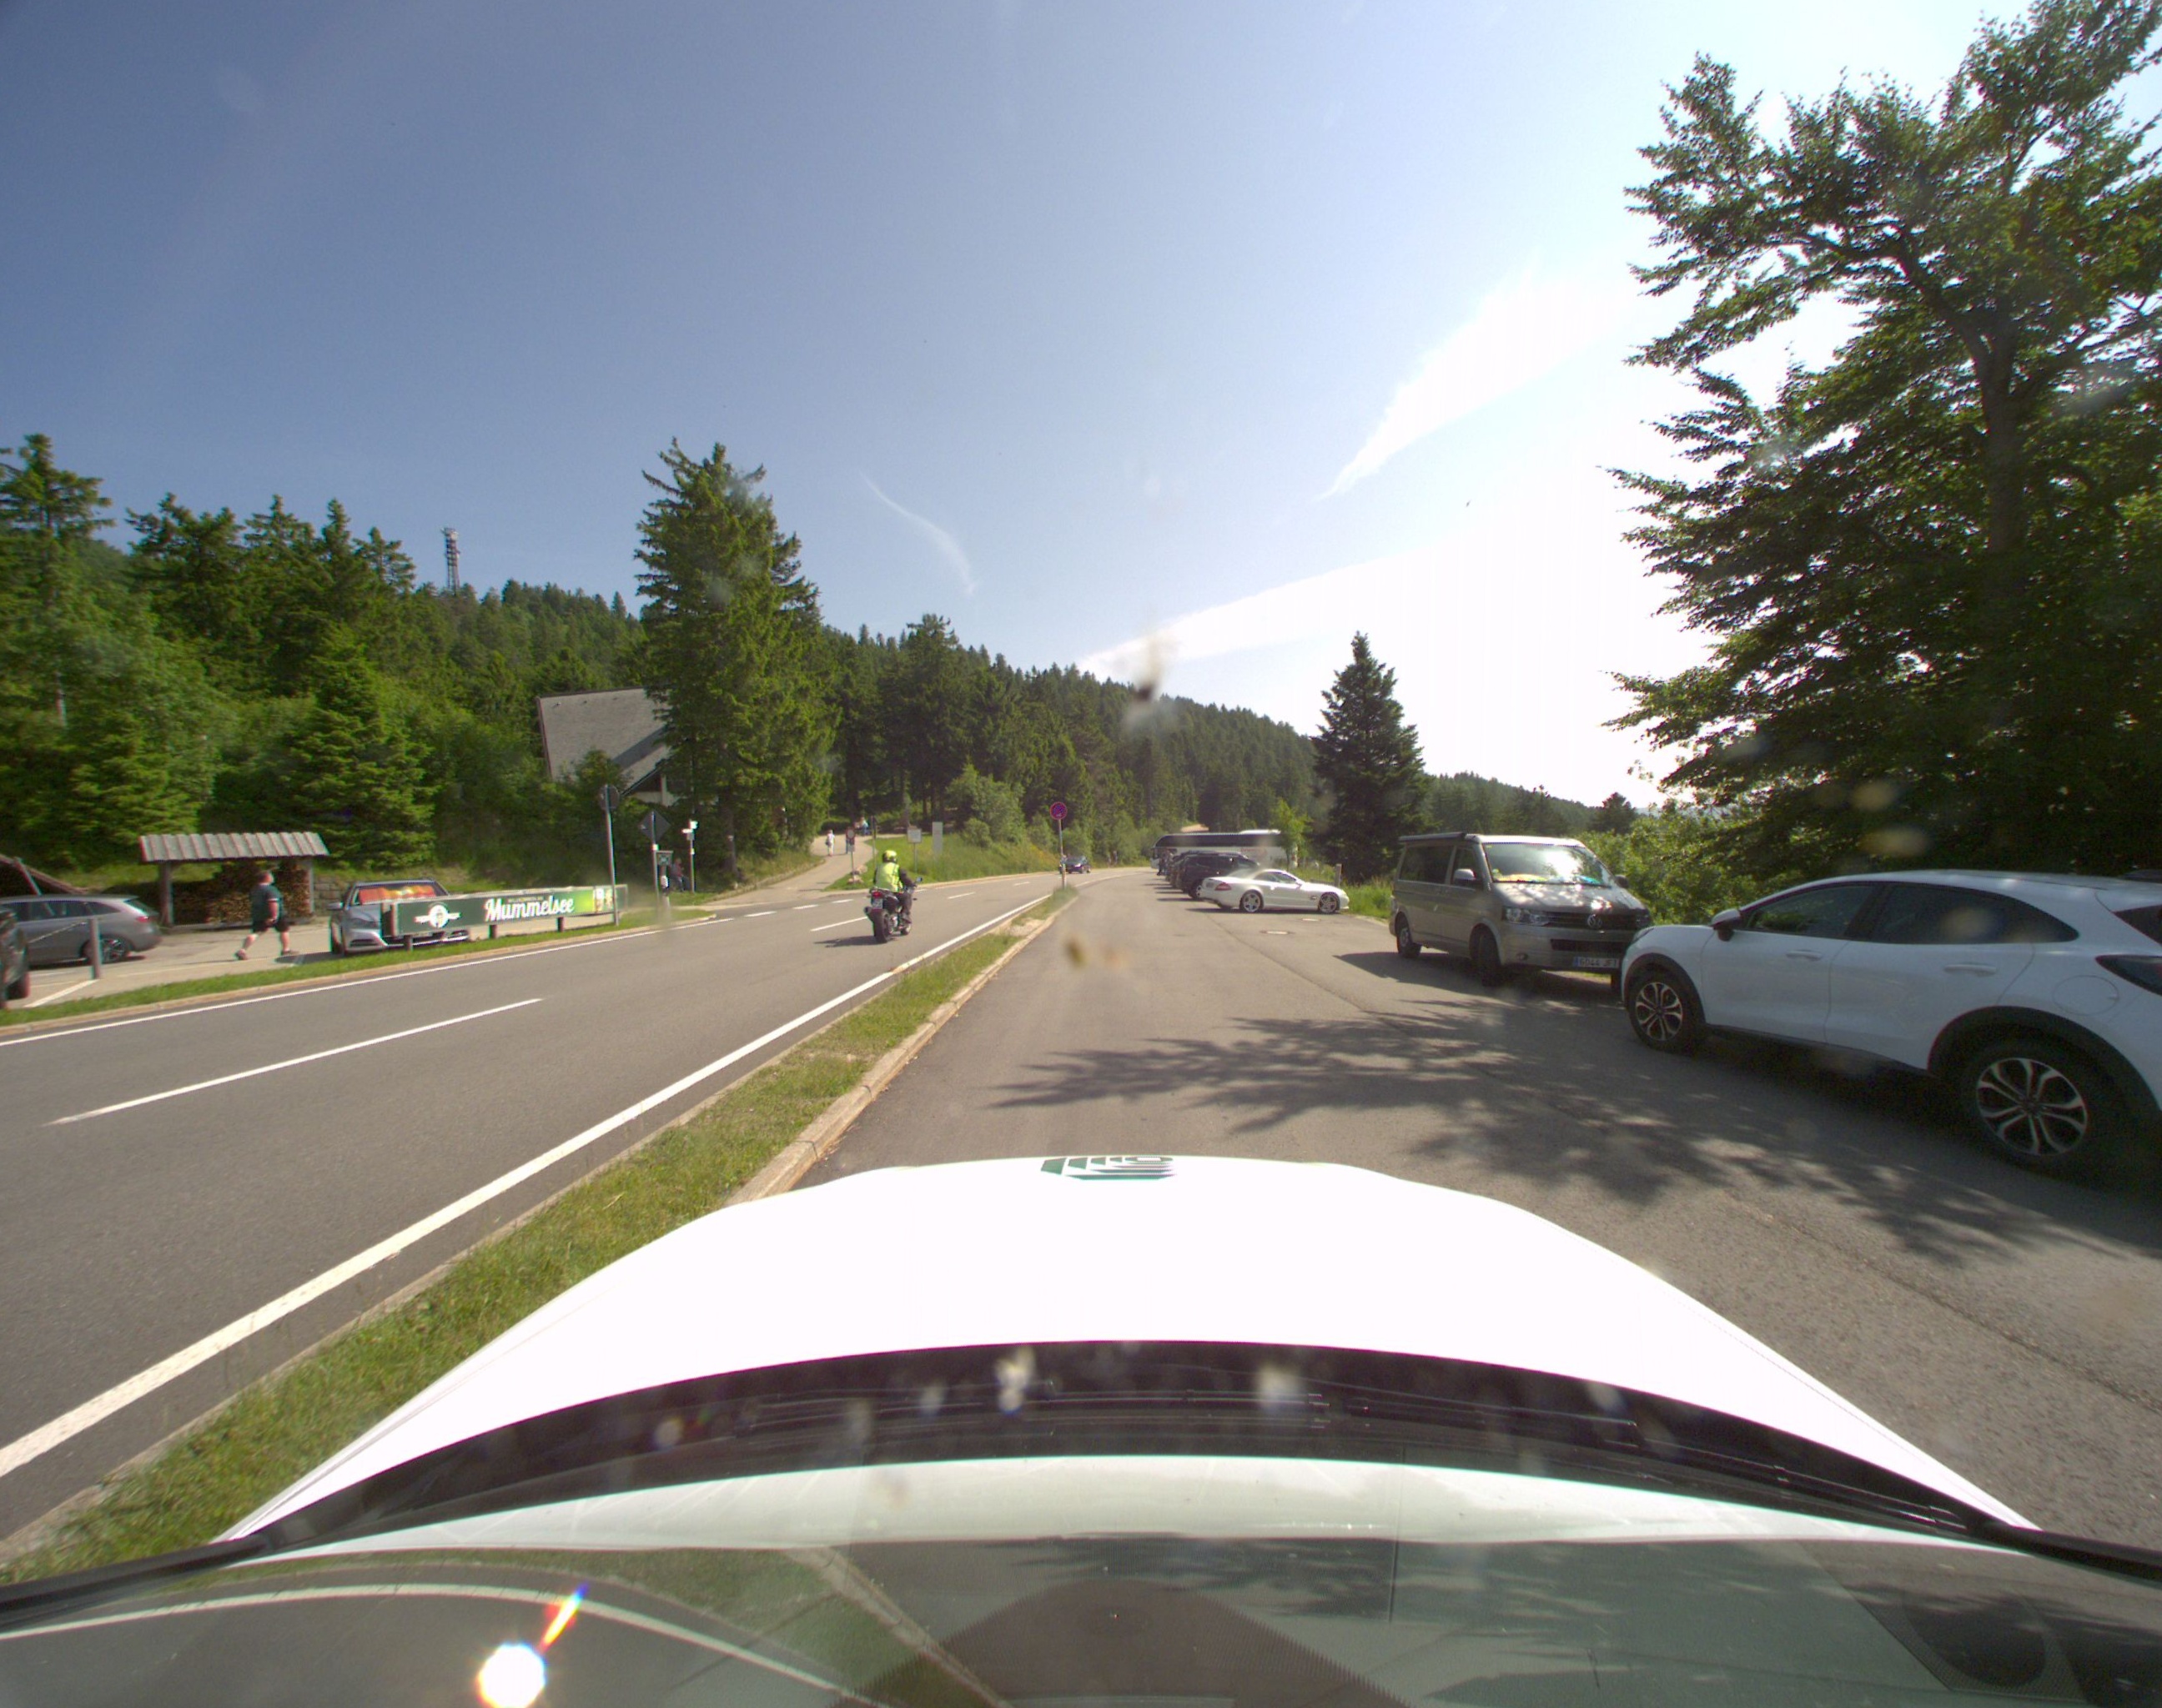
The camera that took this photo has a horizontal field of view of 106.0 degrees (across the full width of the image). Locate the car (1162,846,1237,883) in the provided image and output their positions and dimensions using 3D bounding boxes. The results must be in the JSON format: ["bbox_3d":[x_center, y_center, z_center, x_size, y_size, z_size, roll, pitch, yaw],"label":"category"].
[{"bbox_3d":[6.652,0.571,46.068,3.970,1.814,1.942,2,2,3],"label":"car"}]

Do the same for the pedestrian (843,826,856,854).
[{"bbox_3d":[-15.382,-0.906,54.025,0.651,1.799,0.642,-3,-1,-5],"label":"pedestrian"}]

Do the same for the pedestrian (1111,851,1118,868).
[{"bbox_3d":[4.077,0.717,98.239,0.730,2.014,0.862,-3,-1,1],"label":"pedestrian"}]

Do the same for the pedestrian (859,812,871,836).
[{"bbox_3d":[-18.889,-2.625,71.327,0.814,2.013,0.851,-3,2,-7],"label":"pedestrian"}]

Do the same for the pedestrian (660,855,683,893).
[{"bbox_3d":[-17.399,0.848,34.617,0.575,1.532,0.553,-3,2,1],"label":"pedestrian"}]

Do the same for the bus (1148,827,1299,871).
[{"bbox_3d":[12.620,-0.429,72.287,12.758,3.577,2.996,-1,2,17],"label":"bus"}]

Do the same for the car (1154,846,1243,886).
[{"bbox_3d":[5.594,0.545,39.054,3.973,1.719,1.868,2,2,1],"label":"car"}]

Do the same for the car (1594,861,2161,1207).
[{"bbox_3d":[5.595,0.840,5.494,1.674,1.518,4.048,2,-1,0],"label":"car"}]

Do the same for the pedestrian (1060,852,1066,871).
[{"bbox_3d":[-1.689,0.713,77.100,0.413,1.747,0.457,-3,2,1],"label":"pedestrian"}]

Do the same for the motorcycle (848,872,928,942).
[{"bbox_3d":[-3.498,0.926,14.976,0.818,1.177,2.288,-1,-1,3],"label":"motorcycle"}]

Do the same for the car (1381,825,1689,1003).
[{"bbox_3d":[6.102,0.670,11.772,1.897,1.972,4.823,2,0,3],"label":"car"}]

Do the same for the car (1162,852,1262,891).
[{"bbox_3d":[5.606,0.753,35.241,3.974,1.452,2.000,2,2,0],"label":"car"}]

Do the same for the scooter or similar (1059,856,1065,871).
[{"bbox_3d":[-1.809,0.916,76.455,0.481,1.379,0.817,-3,2,1],"label":"scooter or similar"}]

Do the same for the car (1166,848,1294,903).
[{"bbox_3d":[5.204,0.721,28.739,3.982,1.699,1.996,2,1,-7],"label":"car"}]

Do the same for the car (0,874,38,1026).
[{"bbox_3d":[-13.777,1.117,9.474,4.157,1.634,1.800,-2,0,41],"label":"car"}]

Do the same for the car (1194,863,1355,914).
[{"bbox_3d":[5.746,1.021,24.248,4.461,1.298,1.574,2,0,-16],"label":"car"}]

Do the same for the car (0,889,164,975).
[{"bbox_3d":[-22.393,1.686,17.147,1.663,1.494,4.026,0,3,41],"label":"car"}]

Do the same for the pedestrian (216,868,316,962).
[{"bbox_3d":[-16.427,1.204,16.444,0.893,1.734,0.961,-3,2,1],"label":"pedestrian"}]

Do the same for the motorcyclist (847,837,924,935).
[{"bbox_3d":[-3.532,0.570,14.828,1.021,1.675,1.294,-1,-2,2],"label":"motorcyclist"}]

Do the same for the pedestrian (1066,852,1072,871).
[{"bbox_3d":[-1.132,0.696,76.643,0.393,1.747,0.406,-3,2,1],"label":"pedestrian"}]

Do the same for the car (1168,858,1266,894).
[{"bbox_3d":[5.369,0.860,32.438,3.624,1.303,1.641,1,2,0],"label":"car"}]

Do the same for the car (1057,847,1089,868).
[{"bbox_3d":[-0.602,0.272,67.445,1.982,1.662,4.009,-2,0,8],"label":"car"}]

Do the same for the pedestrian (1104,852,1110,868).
[{"bbox_3d":[3.215,0.782,99.290,0.620,1.900,0.655,-3,-1,1],"label":"pedestrian"}]

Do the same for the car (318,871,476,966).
[{"bbox_3d":[-13.117,1.149,15.534,3.920,1.441,1.755,-3,2,43],"label":"car"}]

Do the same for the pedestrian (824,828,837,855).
[{"bbox_3d":[-16.366,-0.819,53.166,0.651,1.667,0.642,-3,-1,-5],"label":"pedestrian"}]

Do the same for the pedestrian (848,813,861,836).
[{"bbox_3d":[-20.065,-2.610,72.156,0.797,2.013,0.938,-3,2,-7],"label":"pedestrian"}]
